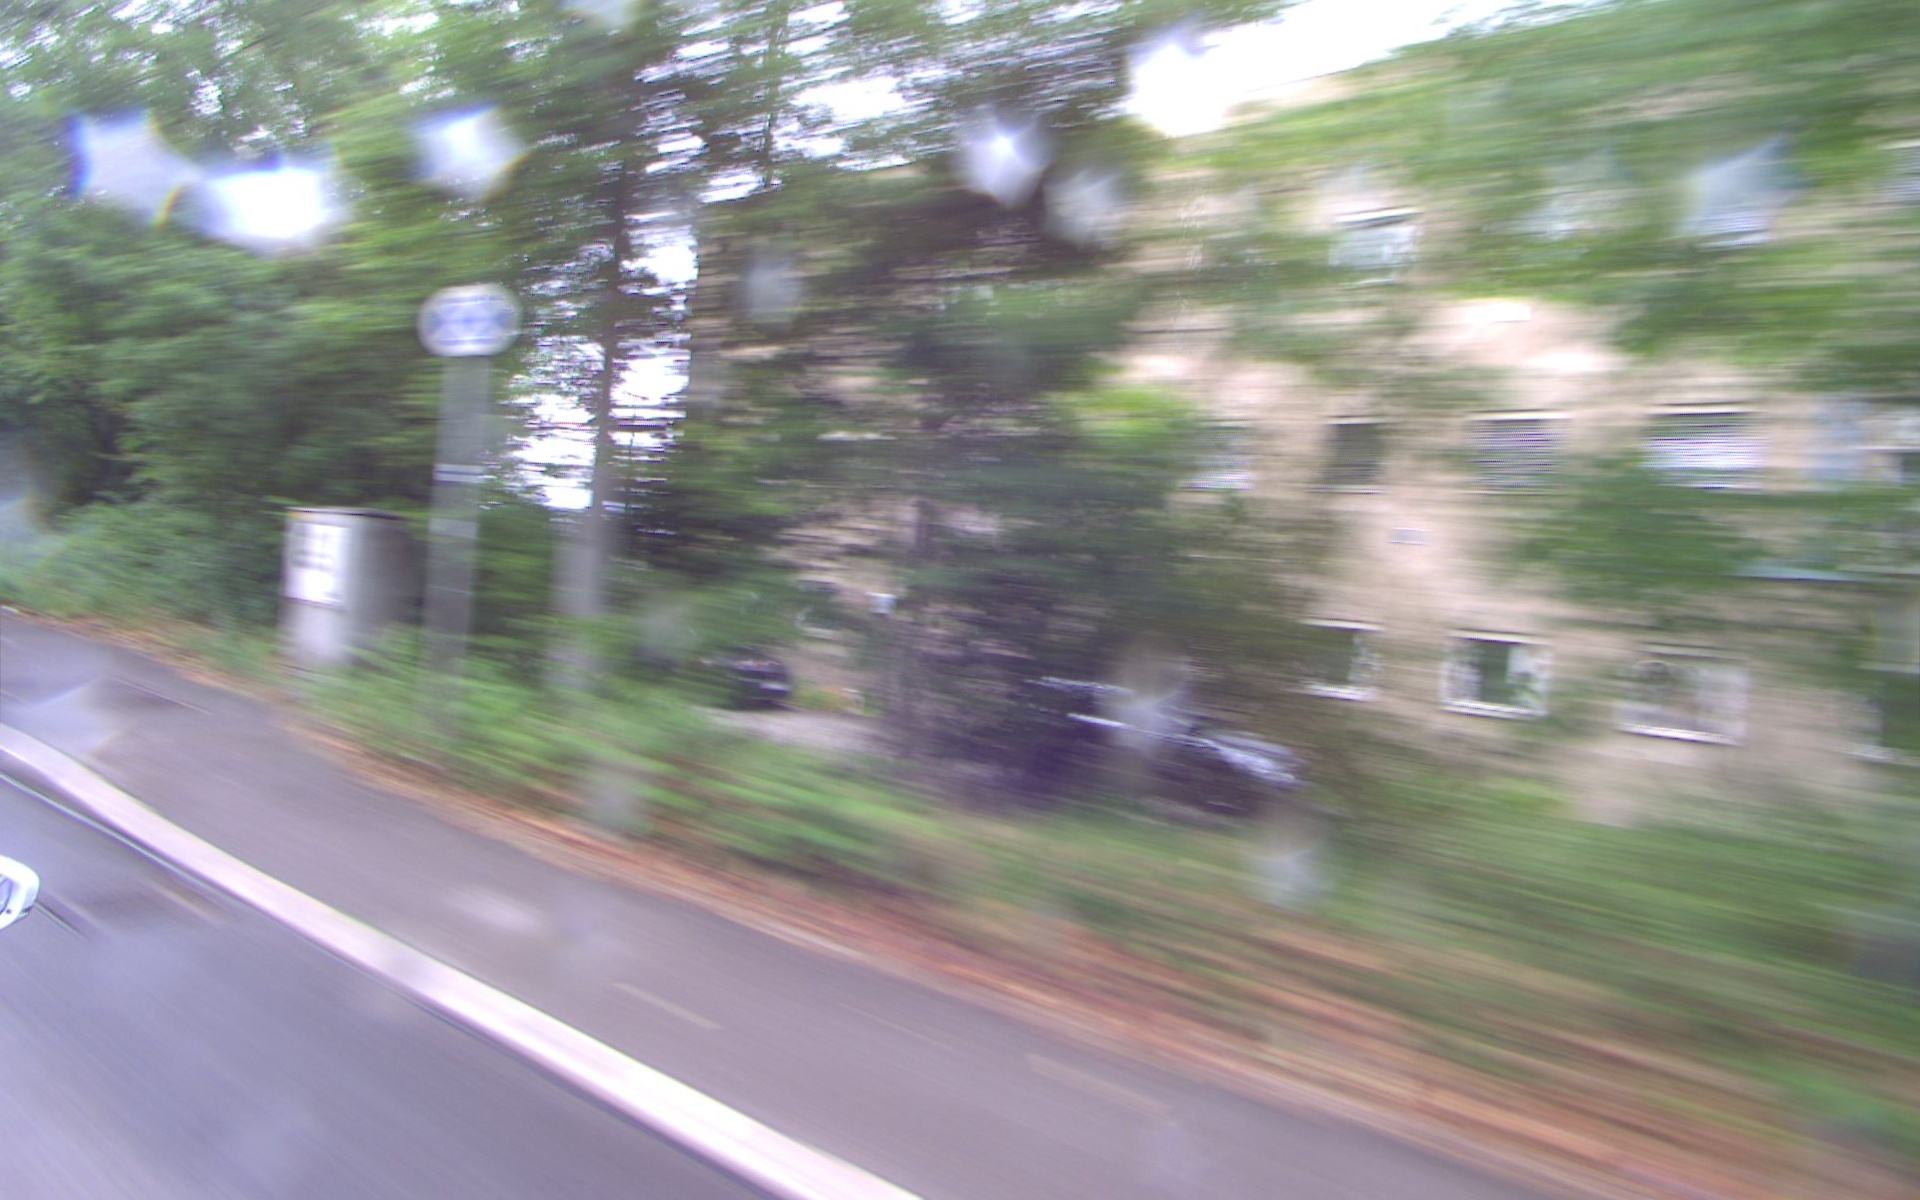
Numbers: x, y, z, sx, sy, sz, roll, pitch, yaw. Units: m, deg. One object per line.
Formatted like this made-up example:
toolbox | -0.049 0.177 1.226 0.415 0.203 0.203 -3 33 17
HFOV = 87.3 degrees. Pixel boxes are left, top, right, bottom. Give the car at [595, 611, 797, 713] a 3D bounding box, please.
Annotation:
car | -5.176 1.157 19.539 3.938 1.482 1.552 5 0 36

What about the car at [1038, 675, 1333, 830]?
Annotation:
car | 3.131 2.016 14.151 3.634 1.475 1.550 6 0 32
